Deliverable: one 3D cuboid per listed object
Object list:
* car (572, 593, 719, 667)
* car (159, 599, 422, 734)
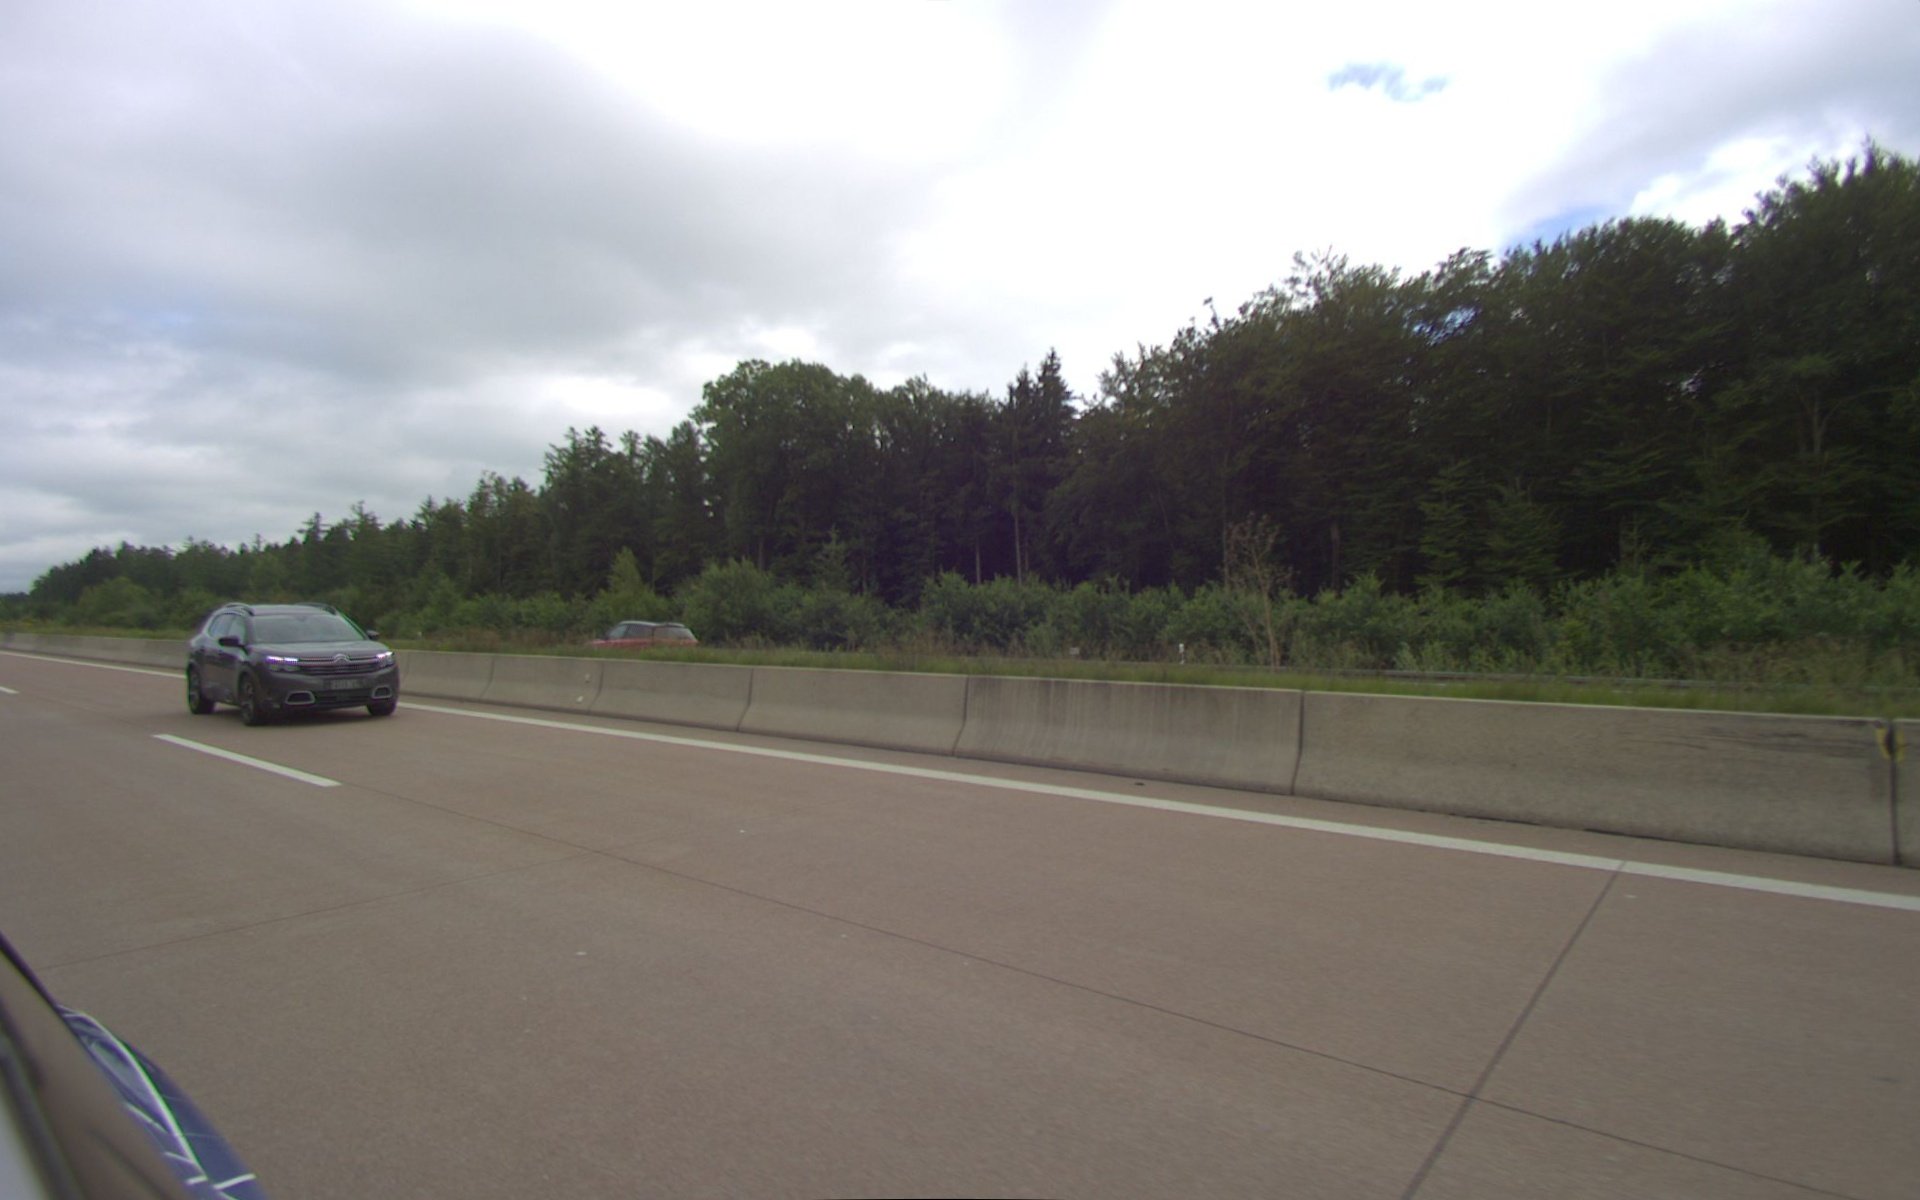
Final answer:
[{"bbox_3d":[-8.863,0.808,28.359,4.163,1.847,1.973,-1,1,41],"label":"car"},{"bbox_3d":[-10.273,0.887,15.349,5.249,1.711,1.973,-1,-1,41],"label":"car"}]
